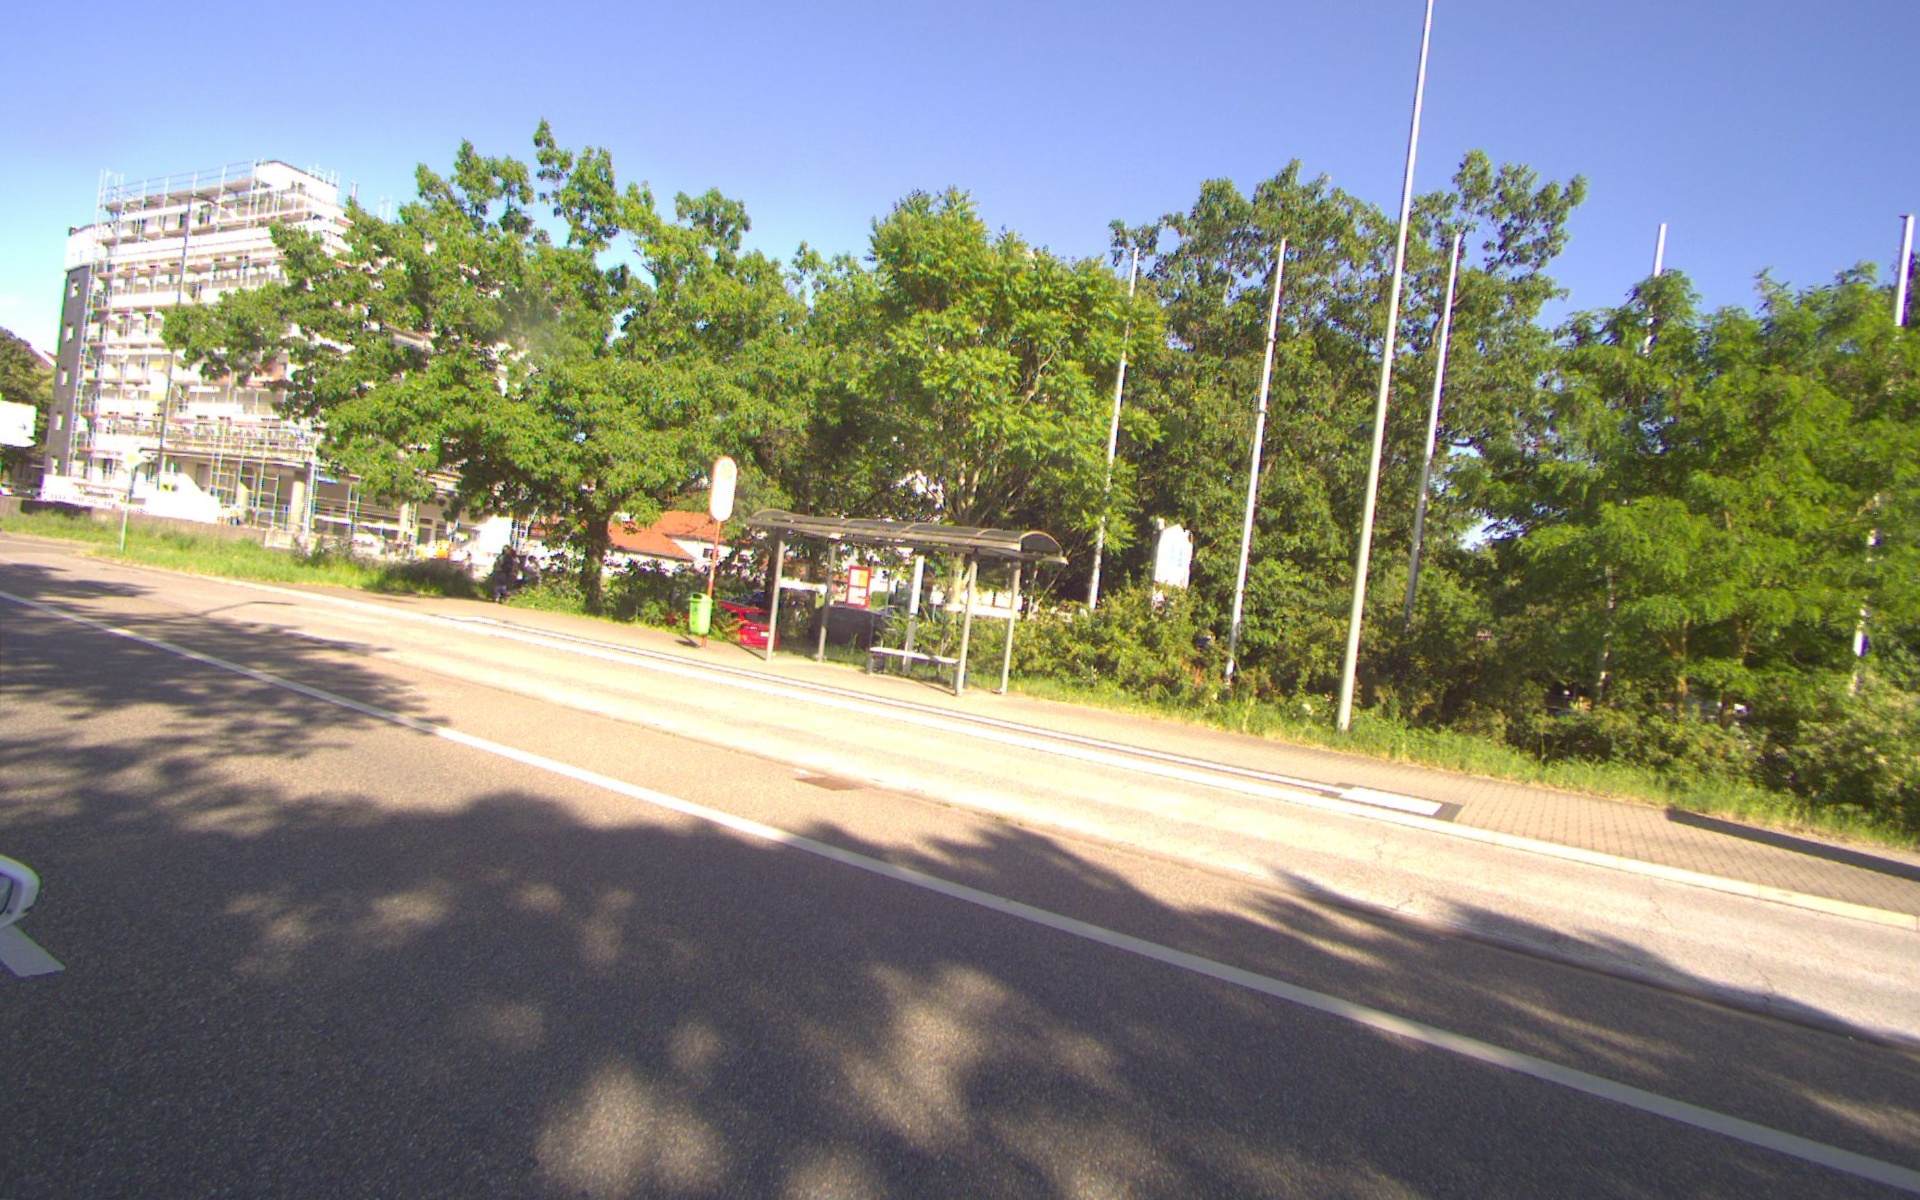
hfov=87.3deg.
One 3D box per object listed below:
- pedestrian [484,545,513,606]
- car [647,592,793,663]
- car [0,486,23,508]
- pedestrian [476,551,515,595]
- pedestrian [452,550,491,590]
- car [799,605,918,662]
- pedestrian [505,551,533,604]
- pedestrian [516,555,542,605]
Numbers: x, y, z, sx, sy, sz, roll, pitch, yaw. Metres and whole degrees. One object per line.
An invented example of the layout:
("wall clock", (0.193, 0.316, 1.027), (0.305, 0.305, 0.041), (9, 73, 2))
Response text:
("pedestrian", (-13.041, -0.701, 28.430), (0.517, 1.632, 0.587), (7, 1, -32))
("car", (-6.875, 0.795, 28.748), (3.680, 1.504, 1.755), (7, 0, 28))
("car", (-66.609, -7.213, 70.166), (1.521, 1.330, 3.250), (7, 0, -40))
("pedestrian", (-19.473, -1.144, 42.148), (0.969, 1.674, 0.891), (7, 0, 16))
("pedestrian", (-19.918, -1.234, 41.009), (0.948, 1.465, 0.895), (7, 0, 17))
("car", (-3.587, 1.180, 35.981), (3.674, 1.504, 1.914), (7, 0, 13))
("pedestrian", (-12.790, -0.655, 29.182), (0.517, 1.465, 0.587), (7, 1, -32))
("pedestrian", (-13.406, -0.632, 31.317), (0.517, 1.465, 0.587), (7, 1, -32))
